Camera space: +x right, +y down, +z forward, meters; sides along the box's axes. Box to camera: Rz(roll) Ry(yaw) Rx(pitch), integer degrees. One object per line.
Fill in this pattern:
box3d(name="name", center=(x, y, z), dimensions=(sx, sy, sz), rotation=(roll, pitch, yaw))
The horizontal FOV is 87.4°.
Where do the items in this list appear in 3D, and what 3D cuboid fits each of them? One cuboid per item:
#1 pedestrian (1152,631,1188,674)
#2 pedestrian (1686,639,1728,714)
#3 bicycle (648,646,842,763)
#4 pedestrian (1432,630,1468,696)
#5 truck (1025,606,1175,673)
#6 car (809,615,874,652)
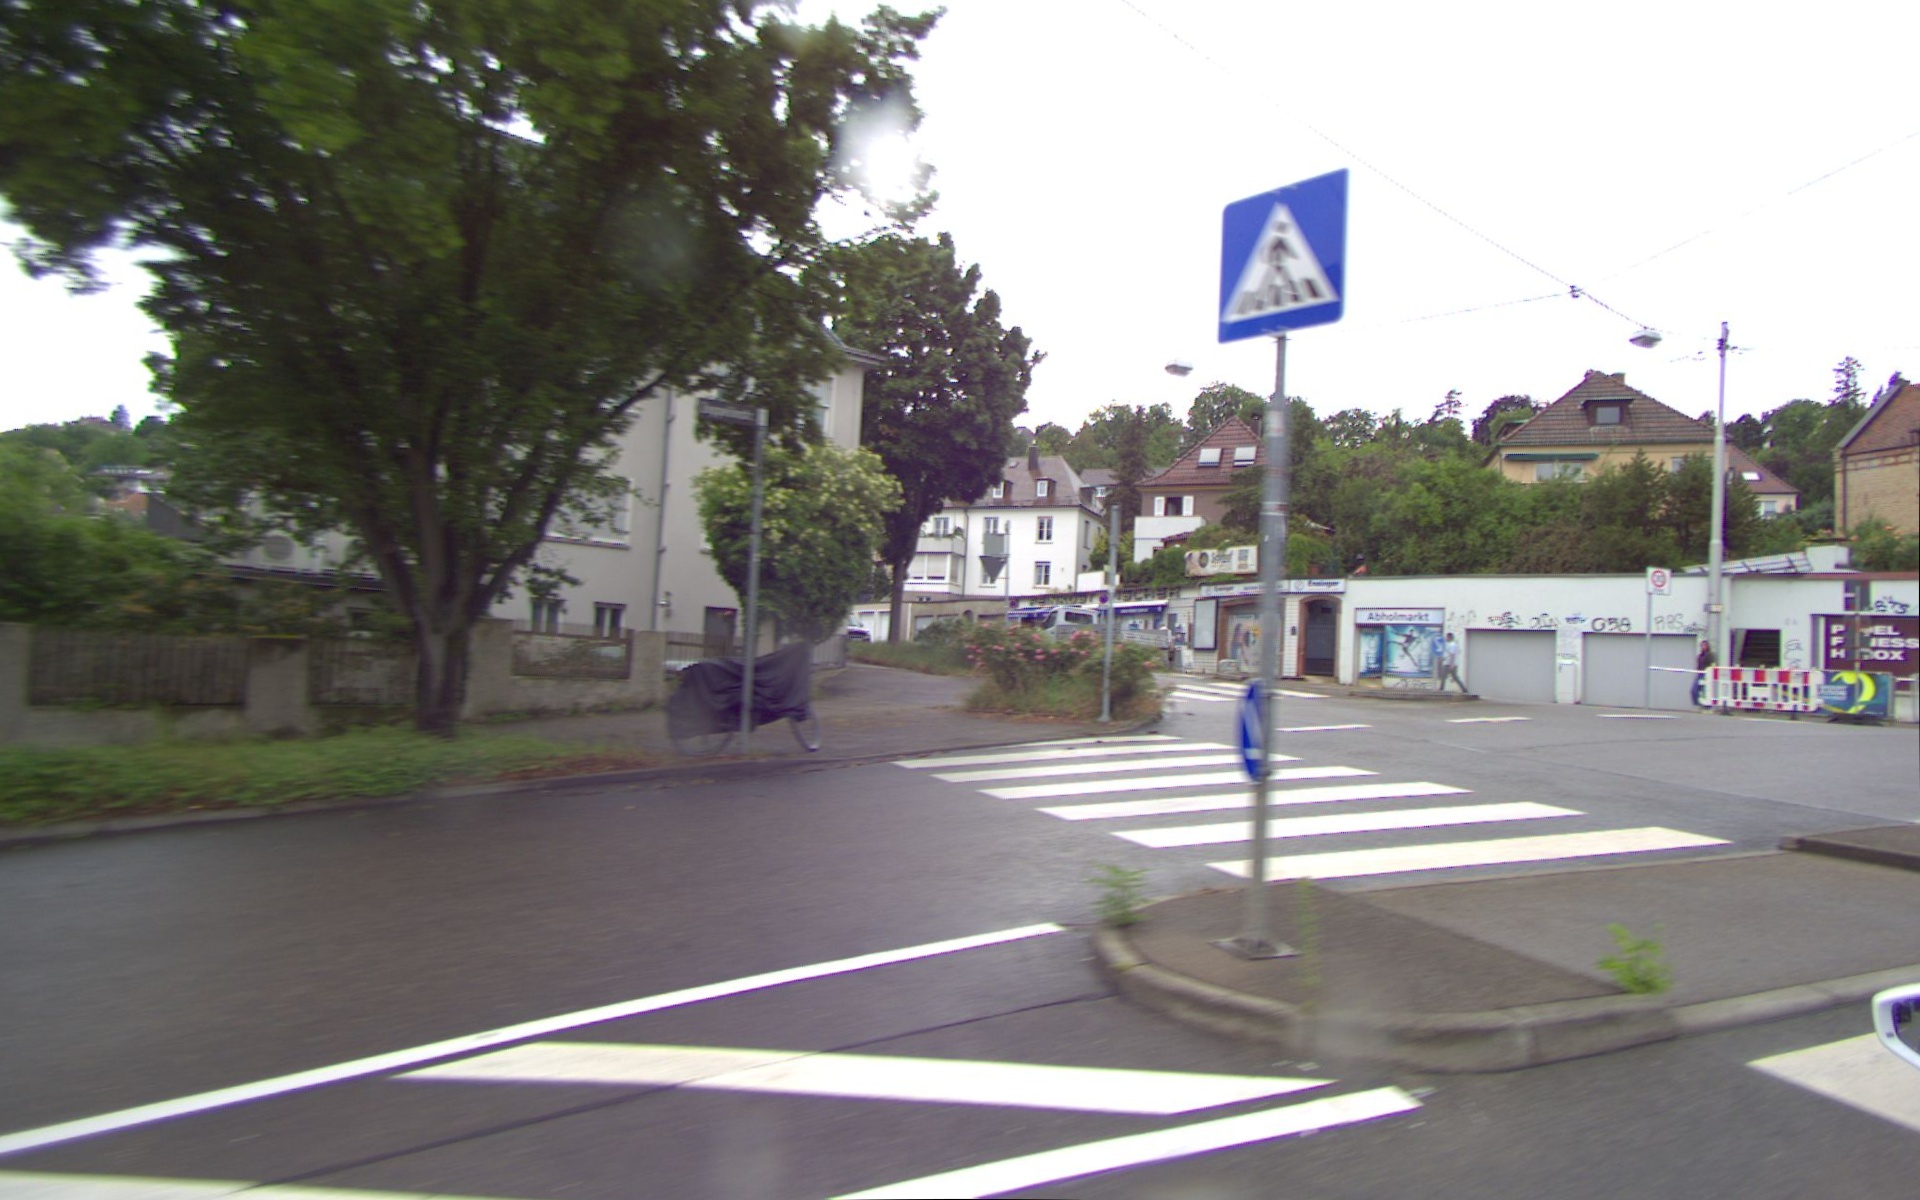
box3d(name="pedestrian", center=(7.823, 1.940, 37.493), dimensions=(0.878, 1.525, 0.973), rotation=(2, 1, -24))
box3d(name="pedestrian", center=(17.532, 1.790, 23.587), dimensions=(0.572, 1.711, 0.627), rotation=(0, -3, 13))
box3d(name="bicycle", center=(-2.210, 1.048, 10.429), dimensions=(1.936, 1.099, 0.419), rotation=(0, 0, -25))
box3d(name="pedestrian", center=(13.977, 1.787, 28.638), dimensions=(0.696, 1.829, 0.804), rotation=(1, -1, 41))
box3d(name="truck", center=(5.129, 1.422, 38.167), dimensions=(2.284, 2.299, 6.766), rotation=(2, -1, -26))
box3d(name="car", center=(-5.267, 1.465, 44.427), dimensions=(1.524, 1.548, 3.651), rotation=(2, -1, -30))
